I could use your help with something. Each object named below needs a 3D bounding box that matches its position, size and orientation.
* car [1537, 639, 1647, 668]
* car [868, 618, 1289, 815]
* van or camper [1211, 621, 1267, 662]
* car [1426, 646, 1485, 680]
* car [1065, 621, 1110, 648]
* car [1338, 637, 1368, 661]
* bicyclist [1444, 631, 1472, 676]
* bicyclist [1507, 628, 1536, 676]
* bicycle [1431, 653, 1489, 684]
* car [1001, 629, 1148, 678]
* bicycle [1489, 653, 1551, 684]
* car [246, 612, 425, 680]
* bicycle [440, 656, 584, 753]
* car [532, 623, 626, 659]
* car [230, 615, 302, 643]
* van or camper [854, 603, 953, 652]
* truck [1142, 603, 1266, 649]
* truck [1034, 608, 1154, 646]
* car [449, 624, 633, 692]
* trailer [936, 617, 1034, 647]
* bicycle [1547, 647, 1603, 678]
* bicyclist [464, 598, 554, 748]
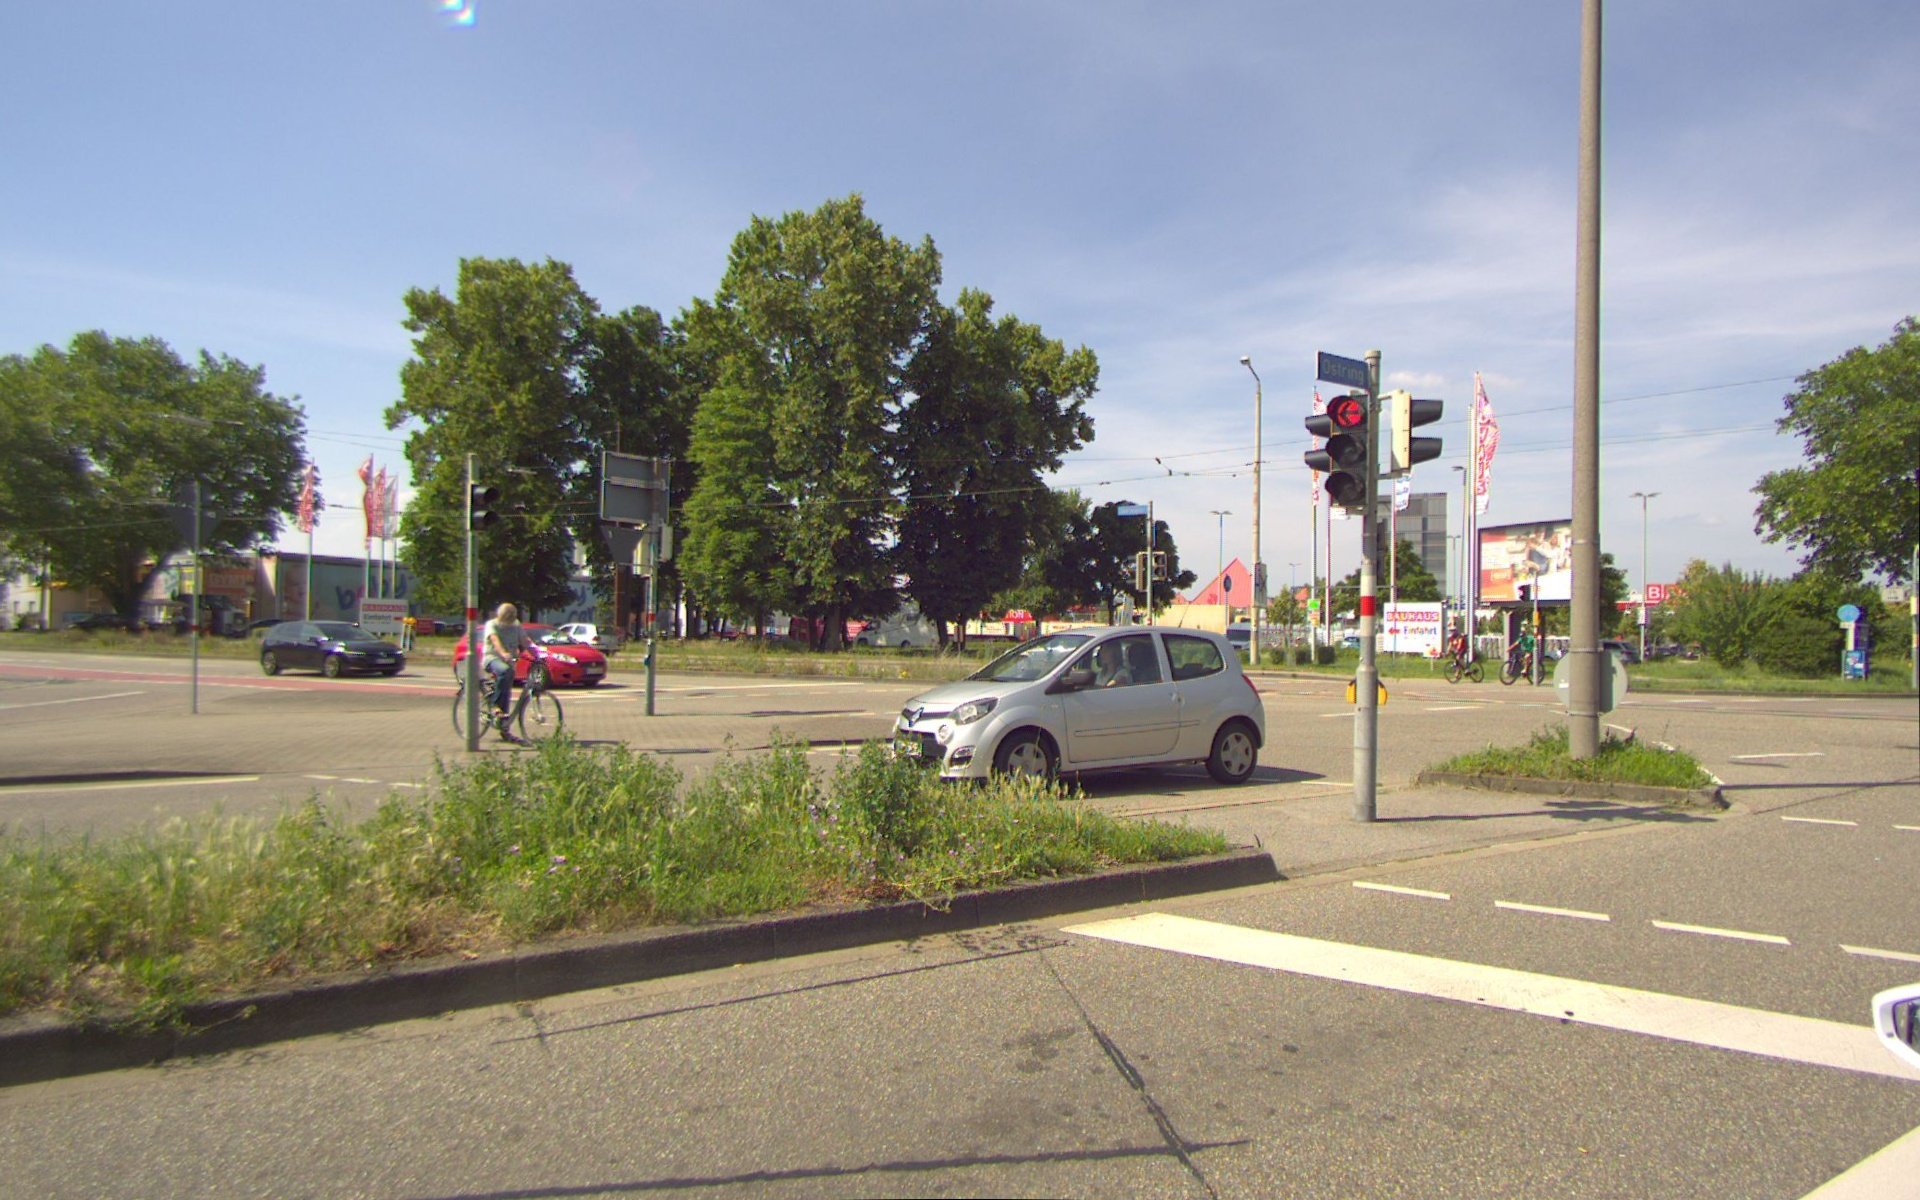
[{"bbox_3d":[33.647,2.822,53.596,2.180,1.432,4.529,2,-2,-37],"label":"car"},{"bbox_3d":[1.156,0.967,9.472,3.690,1.534,1.642,1,-2,-29],"label":"car"},{"bbox_3d":[16.191,2.404,58.166,2.155,2.239,5.513,0,-2,26],"label":"van or camper"},{"bbox_3d":[26.372,3.324,53.605,2.157,1.593,4.579,0,-2,17],"label":"car"},{"bbox_3d":[12.542,3.349,98.440,2.344,2.562,6.118,0,-2,28],"label":"car"},{"bbox_3d":[27.916,3.429,71.334,1.787,1.593,4.278,0,-2,24],"label":"car"},{"bbox_3d":[15.982,1.719,32.250,0.598,1.432,0.529,1,-1,-7],"label":"bicyclist"},{"bbox_3d":[17.716,1.641,31.704,0.599,1.511,0.528,1,-1,-15],"label":"bicyclist"},{"bbox_3d":[16.015,2.187,32.202,1.719,0.950,0.434,1,-1,-8],"label":"bicycle"},{"bbox_3d":[3.643,1.665,32.136,4.378,1.430,1.638,0,-2,25],"label":"car"},{"bbox_3d":[17.661,2.170,31.684,1.963,0.950,0.416,1,-1,-14],"label":"bicycle"},{"bbox_3d":[-16.753,1.200,27.011,3.920,1.721,2.001,0,-2,18],"label":"car"},{"bbox_3d":[-5.654,1.273,12.638,2.128,1.078,0.524,0,-2,31],"label":"bicycle"},{"bbox_3d":[-16.668,1.770,43.908,3.788,1.446,1.698,0,-2,26],"label":"car"},{"bbox_3d":[-51.176,2.147,74.136,1.971,2.040,3.980,0,-2,41],"label":"car"},{"bbox_3d":[-3.888,1.849,68.781,6.207,3.141,2.709,1,-1,26],"label":"van or camper"},{"bbox_3d":[18.476,1.941,76.198,8.753,3.355,3.159,0,-2,23],"label":"truck"},{"bbox_3d":[11.040,2.199,83.150,9.431,2.930,2.925,0,-2,24],"label":"truck"},{"bbox_3d":[-9.933,1.330,23.809,3.924,1.468,1.846,0,-2,25],"label":"car"},{"bbox_3d":[2.152,2.765,87.369,8.057,2.523,2.924,0,-2,26],"label":"trailer"},{"bbox_3d":[21.587,2.206,35.273,1.864,1.051,0.594,1,-1,-16],"label":"bicycle"},{"bbox_3d":[-5.672,0.892,12.653,0.754,1.812,0.704,0,-1,31],"label":"bicyclist"}]
